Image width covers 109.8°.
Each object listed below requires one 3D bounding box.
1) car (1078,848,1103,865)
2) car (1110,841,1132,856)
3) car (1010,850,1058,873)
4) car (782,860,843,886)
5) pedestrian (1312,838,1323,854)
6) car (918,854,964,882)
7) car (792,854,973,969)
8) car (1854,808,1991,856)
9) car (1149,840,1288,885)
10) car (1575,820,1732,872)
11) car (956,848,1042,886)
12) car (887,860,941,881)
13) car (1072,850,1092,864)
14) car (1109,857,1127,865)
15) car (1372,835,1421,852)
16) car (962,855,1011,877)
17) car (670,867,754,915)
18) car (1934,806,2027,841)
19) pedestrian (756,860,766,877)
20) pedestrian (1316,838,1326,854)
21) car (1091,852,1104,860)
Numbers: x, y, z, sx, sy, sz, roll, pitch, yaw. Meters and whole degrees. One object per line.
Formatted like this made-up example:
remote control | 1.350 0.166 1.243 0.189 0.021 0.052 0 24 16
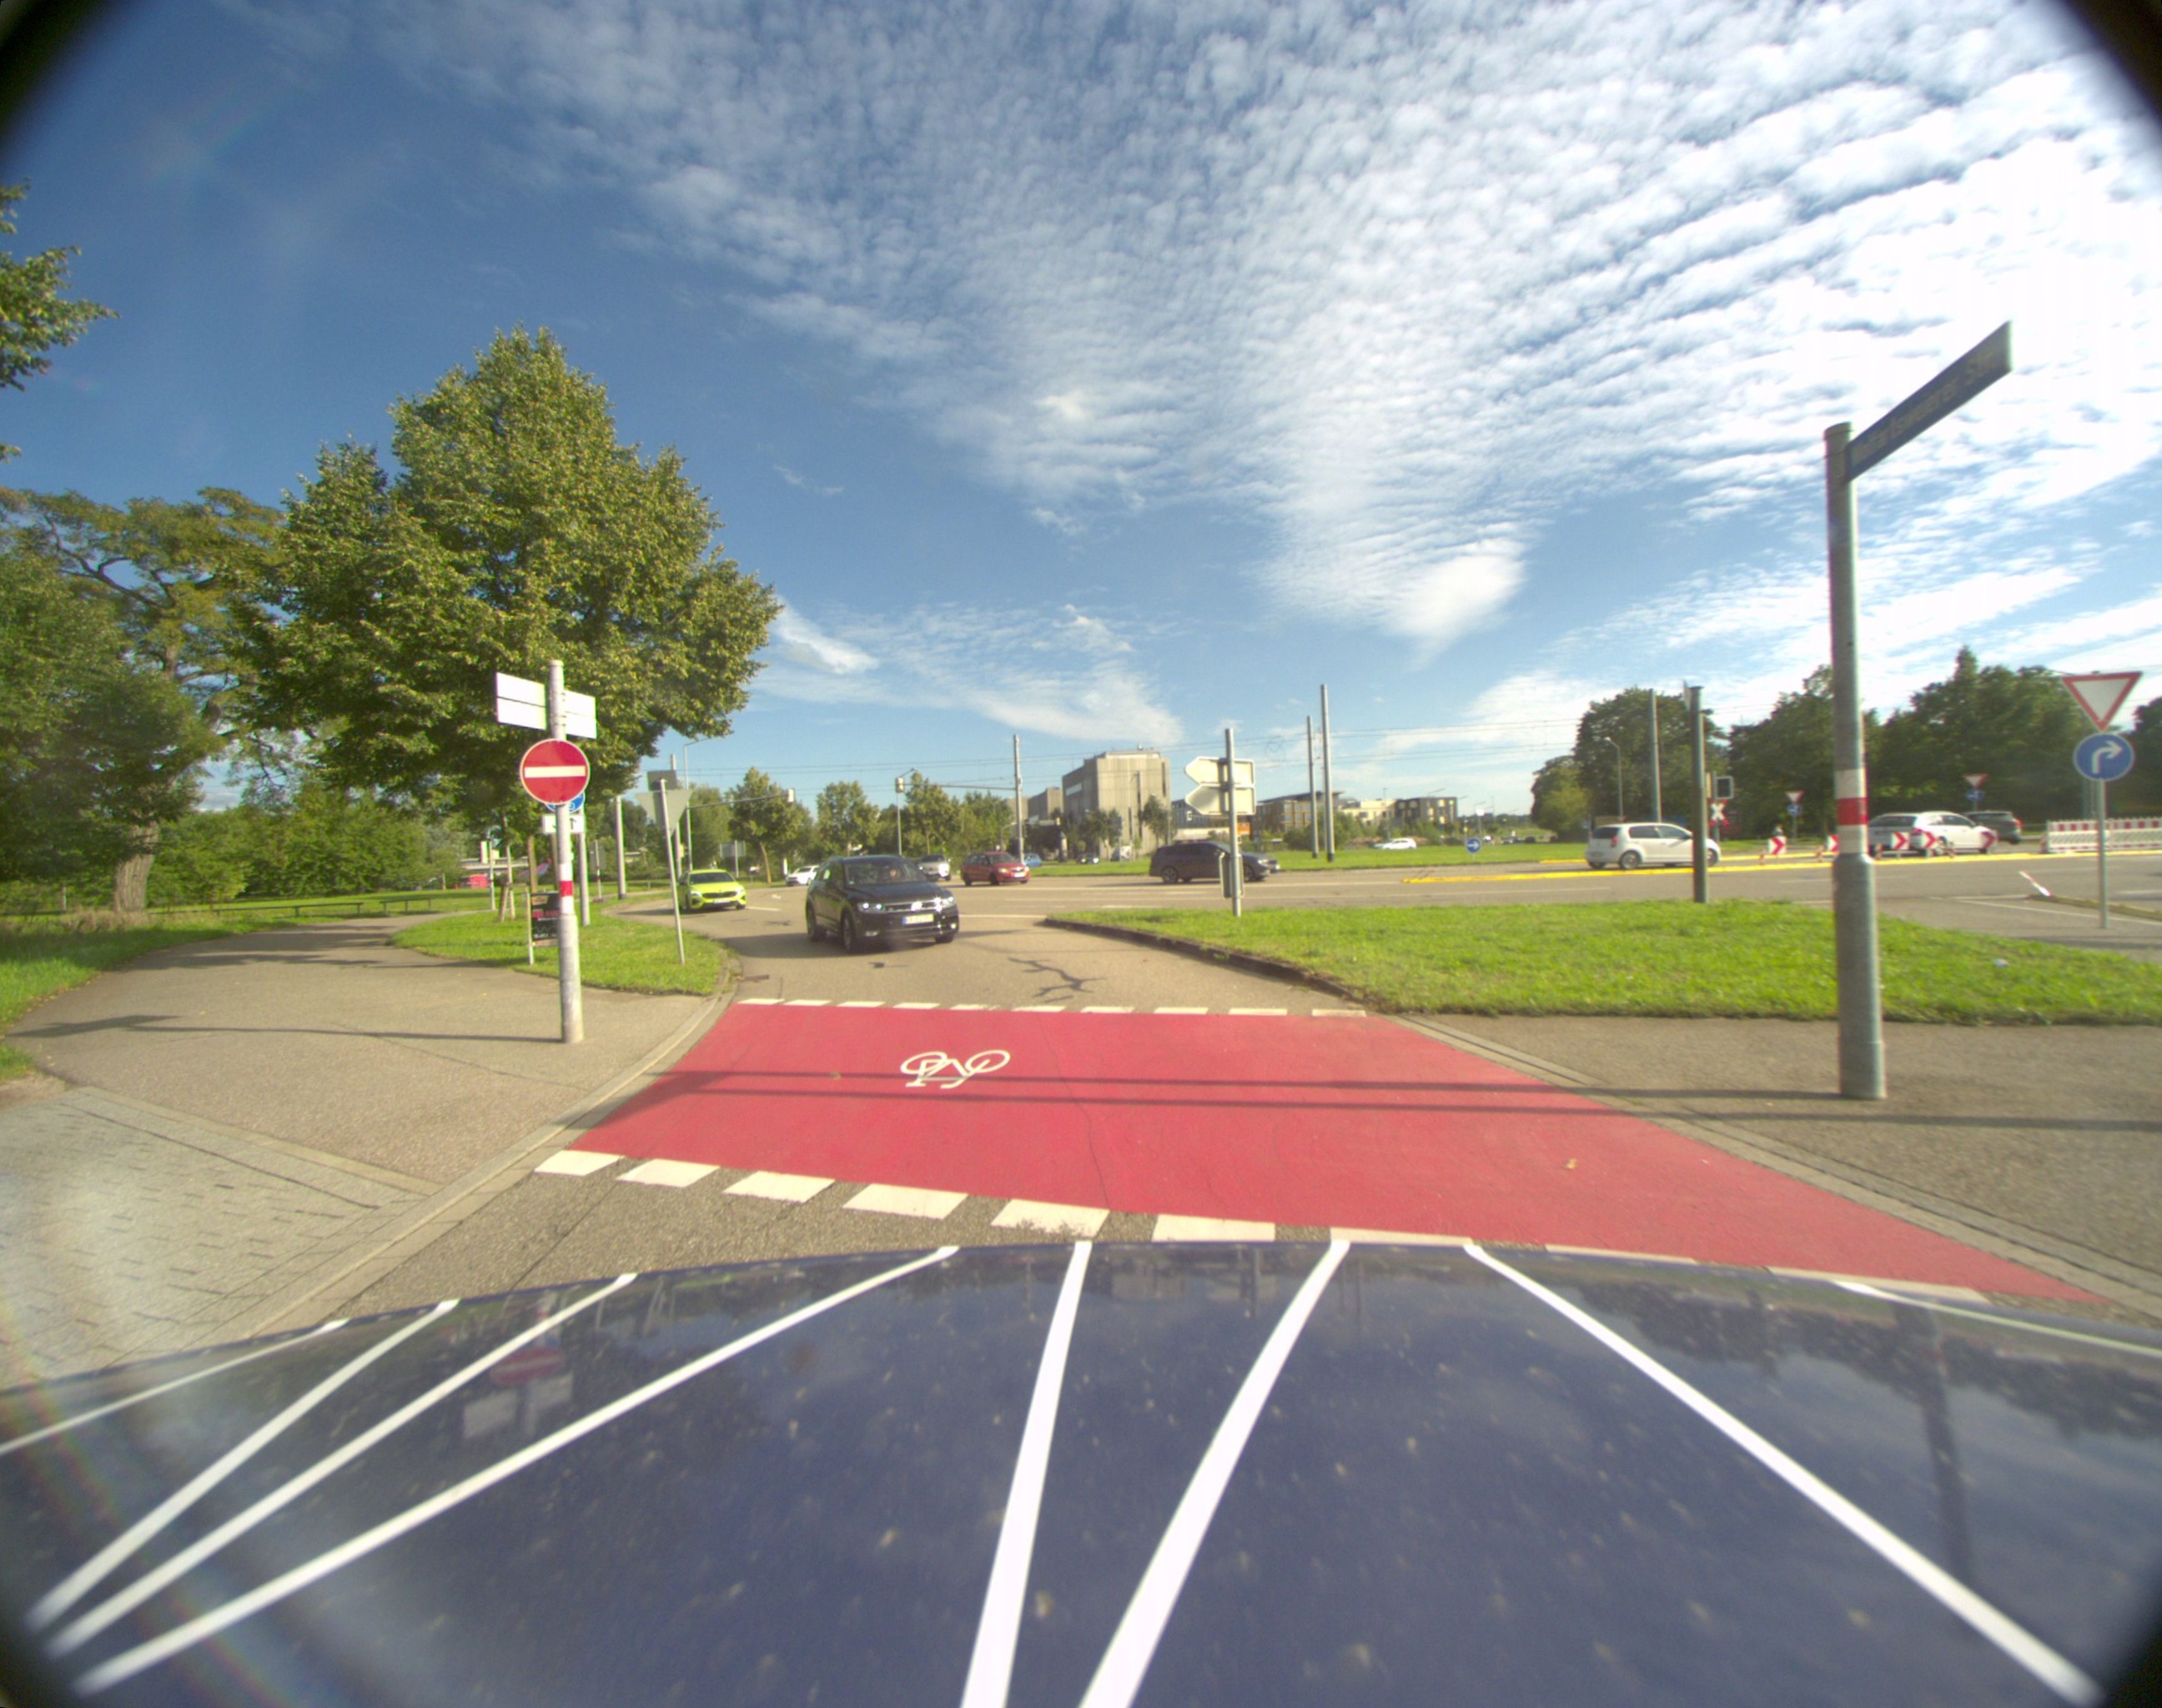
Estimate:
car | 0.968 0.233 82.109 2.000 1.652 4.799 -3 1 -7
car | 6.713 -0.920 128.394 2.066 2.250 6.018 -1 -1 -12
car | -3.870 0.624 63.453 1.995 1.652 4.810 -2 1 23
car | -20.023 1.390 56.877 1.997 1.652 4.807 -2 0 13
pedestrian | 29.571 -1.042 95.088 0.894 1.905 0.868 -4 2 35
car | -8.041 0.784 44.028 1.693 1.466 4.227 -2 0 1
car | -3.931 0.924 14.309 1.876 1.685 5.003 -3 1 -31
car | 28.895 -0.784 26.077 4.644 1.437 1.852 -3 2 -25
car | 4.858 0.323 27.009 4.435 1.412 1.827 -2 2 31
car | 18.085 -0.275 24.131 3.657 1.456 1.766 -3 2 0
car | -3.696 0.596 33.689 1.698 1.466 4.216 -4 1 -40
car | -15.045 1.488 68.755 1.995 1.652 4.811 -2 1 28
car | 0.046 0.317 95.345 1.999 1.652 4.800 -3 1 -5
car | 5.751 1.151 119.020 1.686 1.257 3.989 -1 -1 -14
car | 32.829 -1.103 79.165 4.425 1.567 1.892 -3 1 -14
car | -8.146 0.999 65.754 1.995 1.652 4.810 -2 1 22
car | -13.154 1.246 26.922 1.900 1.412 4.596 -4 1 -35
car | 41.538 -1.399 35.182 1.832 1.423 4.007 -2 1 36
pedestrian | -34.278 1.550 81.360 0.596 1.722 0.668 -2 1 14
pedestrian | 29.761 -1.041 94.201 0.894 1.905 0.868 -4 2 35
car | 3.135 0.438 145.928 1.686 1.492 3.990 -1 -1 -13
